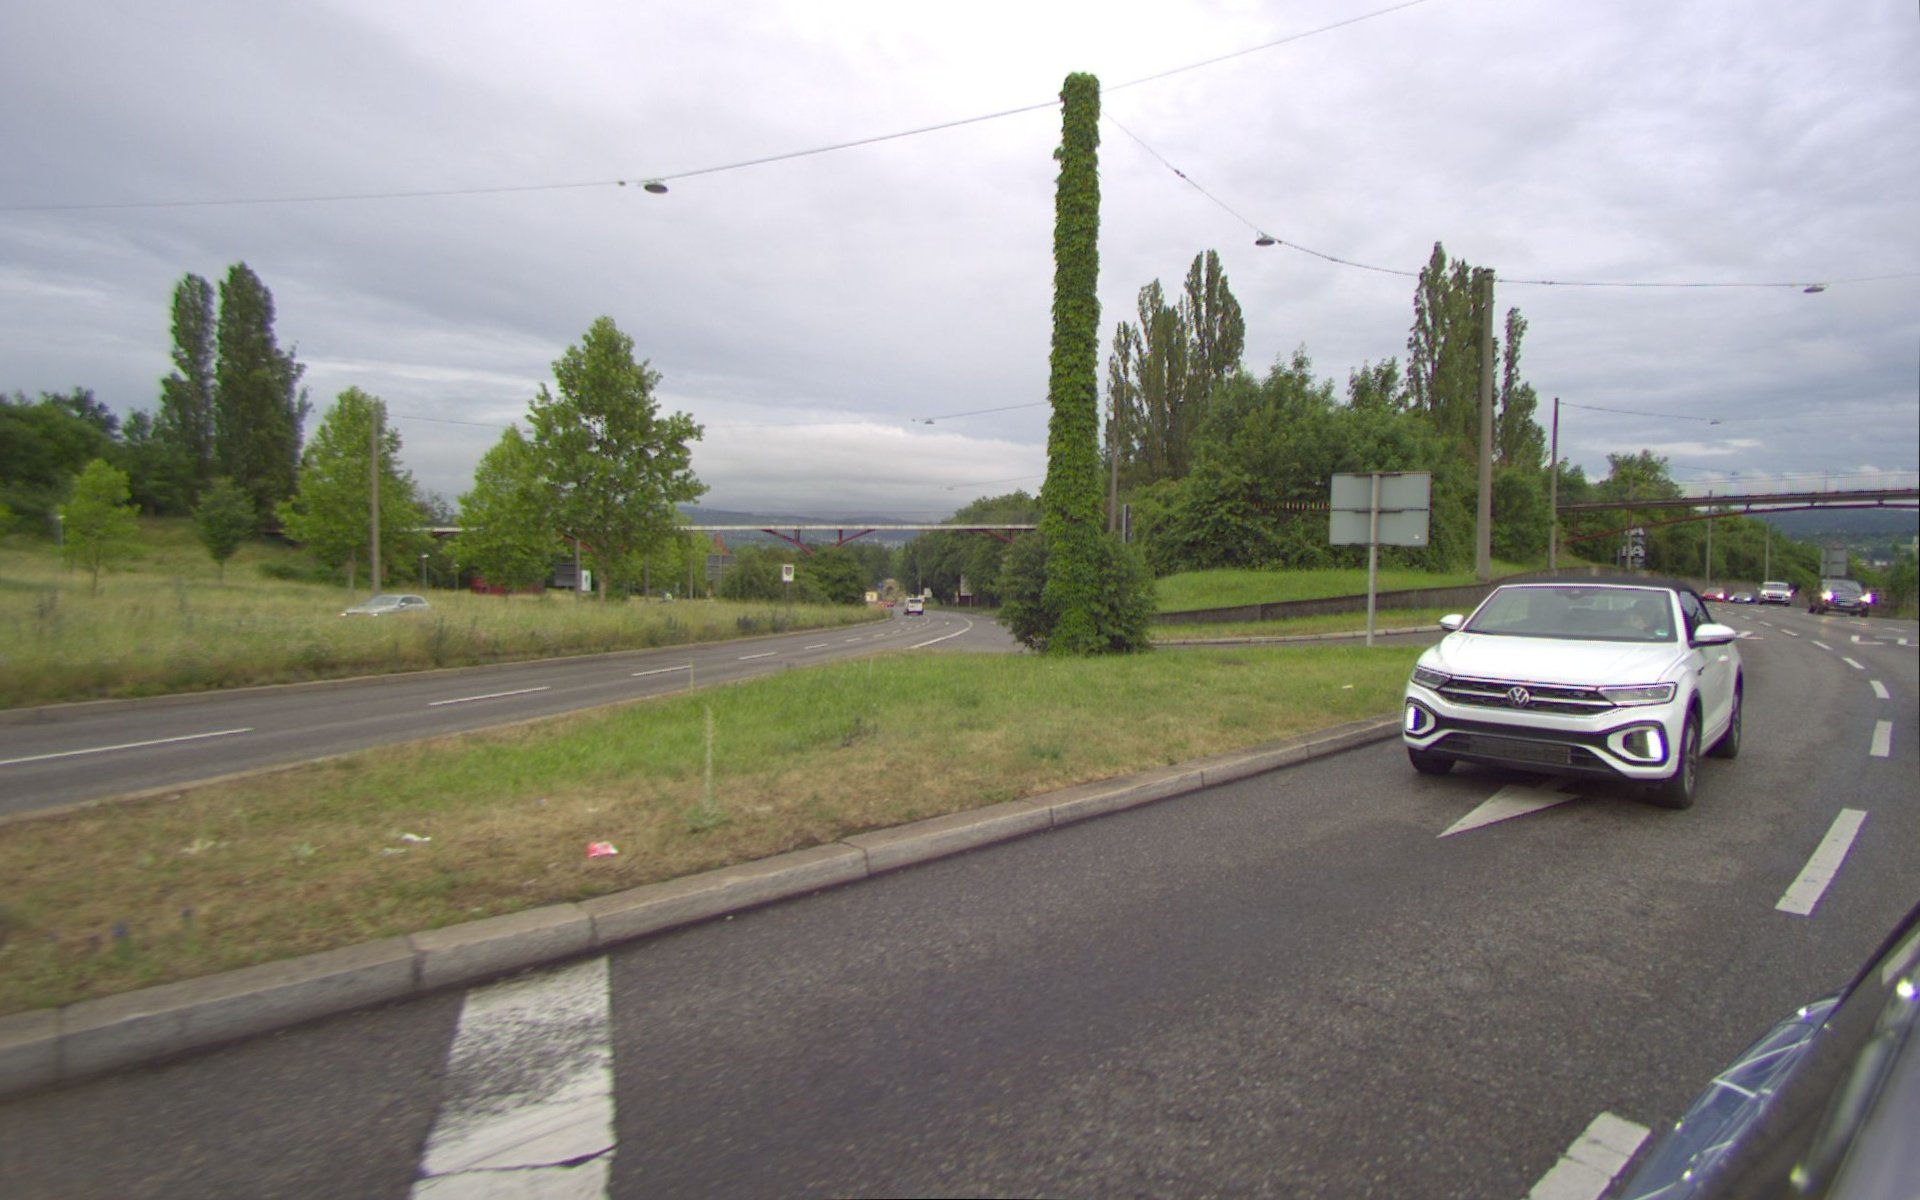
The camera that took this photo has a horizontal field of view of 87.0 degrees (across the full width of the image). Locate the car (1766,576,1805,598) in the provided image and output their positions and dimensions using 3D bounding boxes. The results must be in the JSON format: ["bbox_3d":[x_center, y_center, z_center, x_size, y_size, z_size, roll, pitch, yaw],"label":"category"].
[{"bbox_3d":[60.891,-0.947,74.678,1.931,1.496,3.949,-1,-1,36],"label":"car"}]

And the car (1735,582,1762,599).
[{"bbox_3d":[82.539,-0.959,105.933,1.992,1.683,3.939,-1,-1,42],"label":"car"}]

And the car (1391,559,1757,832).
[{"bbox_3d":[5.017,0.471,7.990,1.712,1.572,4.166,2,3,42],"label":"car"}]

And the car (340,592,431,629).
[{"bbox_3d":[-23.841,0.421,42.134,1.569,1.427,3.960,-1,0,-1],"label":"car"}]

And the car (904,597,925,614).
[{"bbox_3d":[-5.032,0.616,111.788,1.960,1.872,4.829,-1,0,-6],"label":"car"}]

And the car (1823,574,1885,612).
[{"bbox_3d":[41.794,-0.322,47.384,1.903,1.699,3.944,-1,0,39],"label":"car"}]

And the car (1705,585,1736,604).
[{"bbox_3d":[71.822,-0.509,95.592,1.992,1.683,3.939,-1,-1,42],"label":"car"}]
